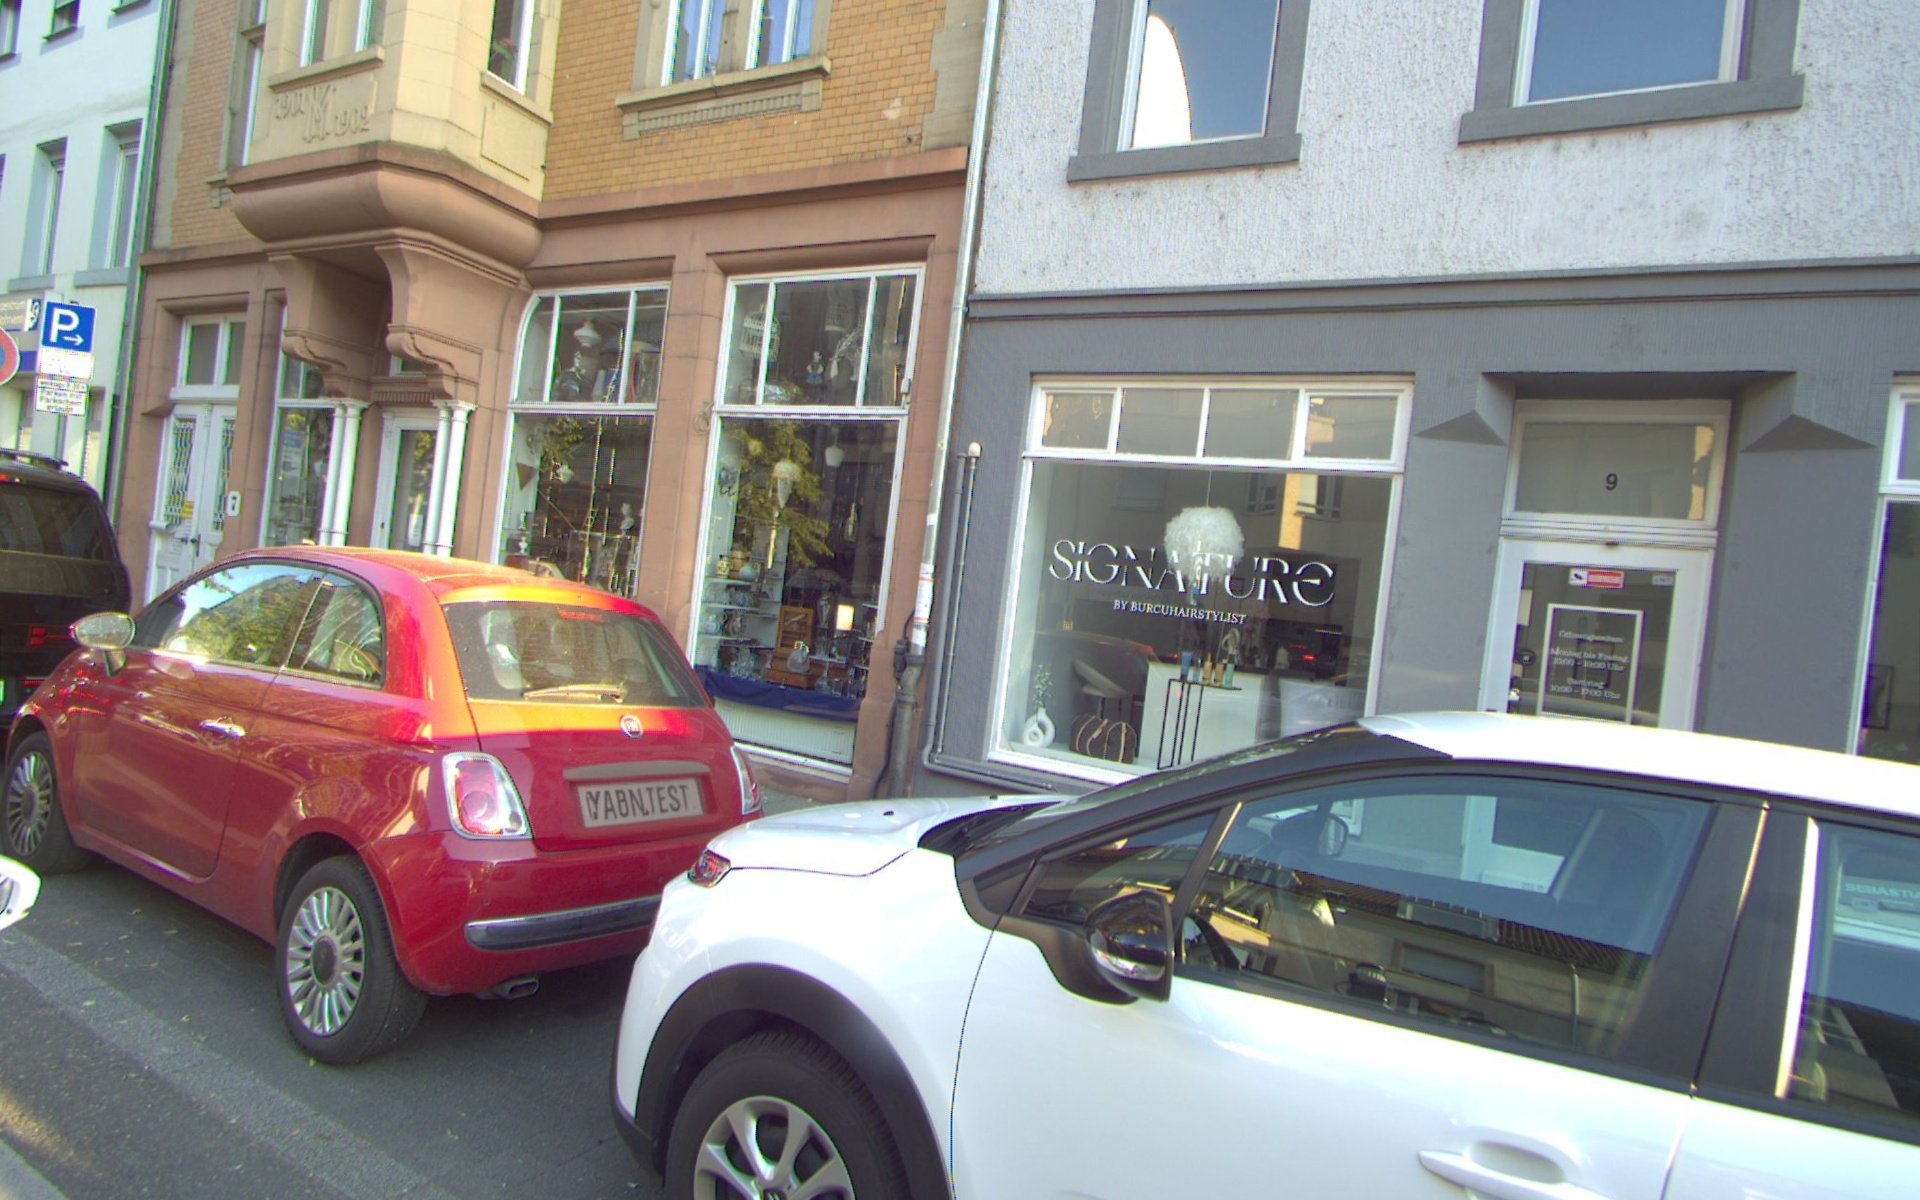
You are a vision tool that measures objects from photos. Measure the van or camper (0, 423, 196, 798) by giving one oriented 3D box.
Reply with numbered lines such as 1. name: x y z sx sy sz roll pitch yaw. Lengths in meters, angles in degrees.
1. van or camper: -6.730 -0.182 5.619 4.380 1.829 1.895 7 -1 24

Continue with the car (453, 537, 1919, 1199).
1. car: 0.968 0.909 2.150 3.868 1.591 1.666 6 -2 30

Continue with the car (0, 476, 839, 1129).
1. car: -2.386 0.494 4.137 3.364 1.588 1.529 7 -1 30
